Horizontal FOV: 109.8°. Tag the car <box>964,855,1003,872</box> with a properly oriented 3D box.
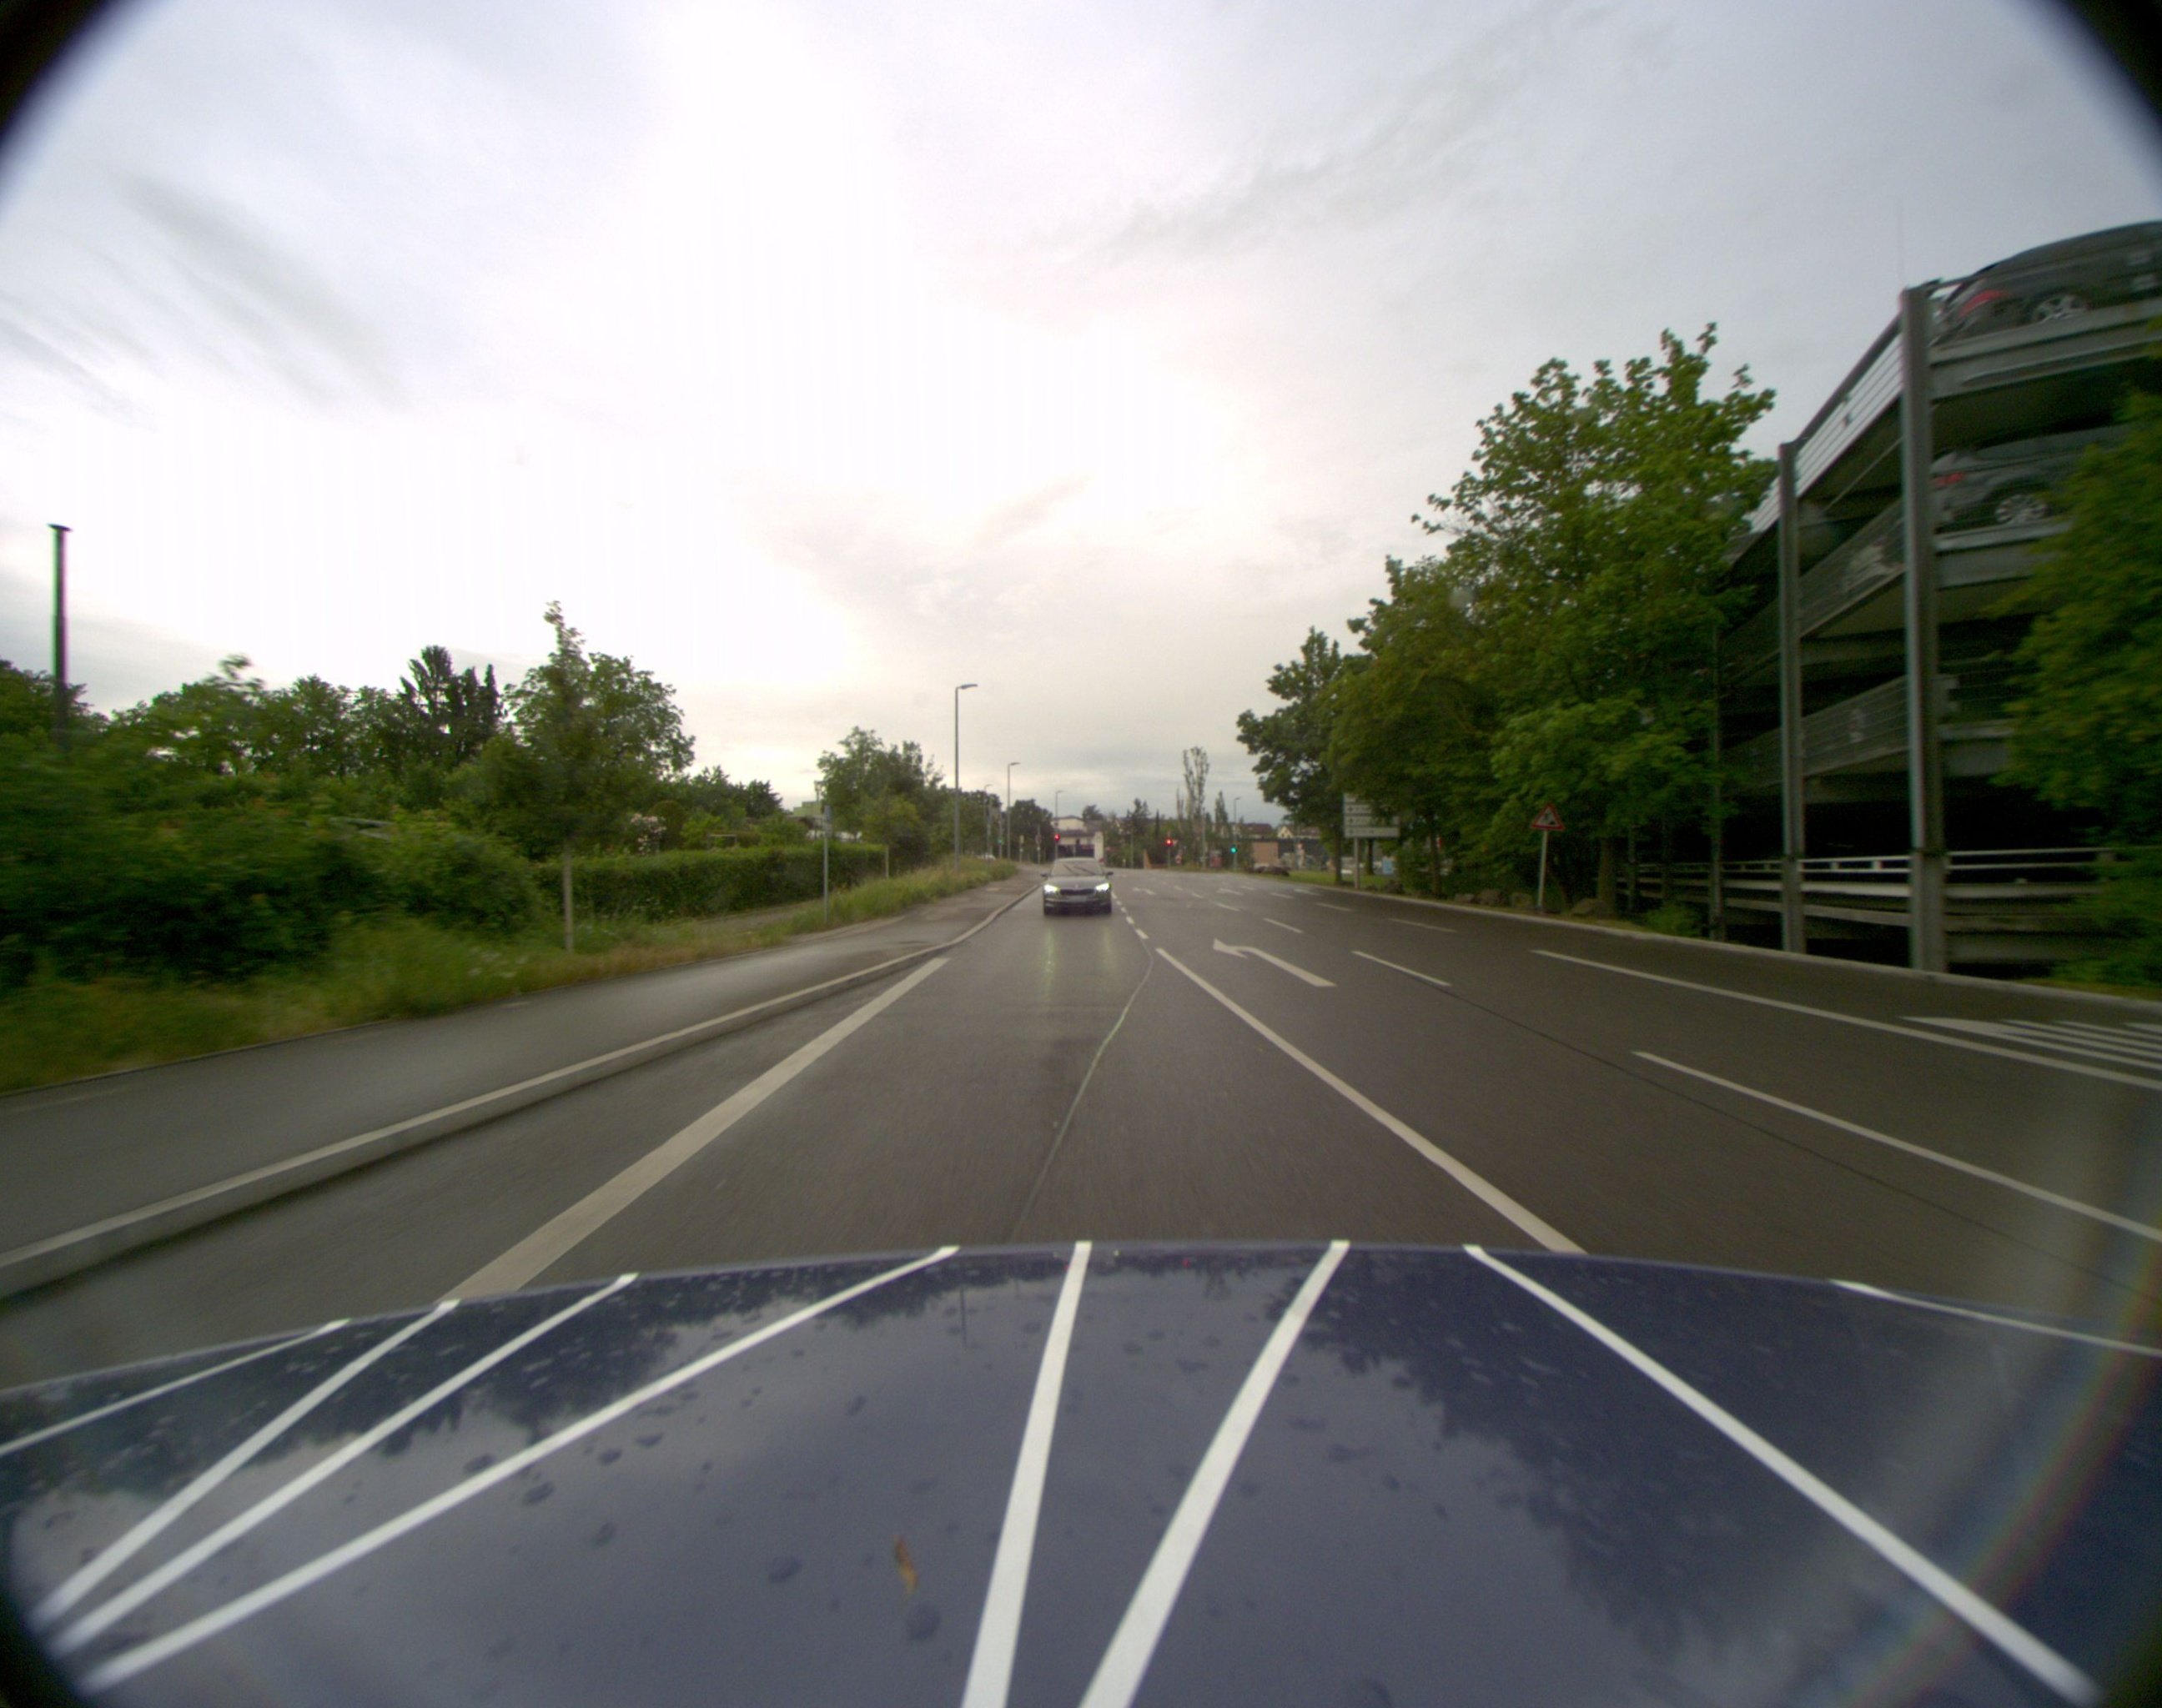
[{"bbox_3d":[-10.662,1.037,83.093,4.050,1.596,1.826,3,5,36],"label":"car"}]

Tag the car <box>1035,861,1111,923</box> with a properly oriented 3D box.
[{"bbox_3d":[-0.162,0.968,20.914,1.839,1.448,4.202,-3,-1,1],"label":"car"}]

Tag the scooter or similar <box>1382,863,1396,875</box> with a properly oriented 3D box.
[{"bbox_3d":[32.214,1.585,79.545,1.226,1.251,0.517,2,-1,-5],"label":"scooter or similar"}]

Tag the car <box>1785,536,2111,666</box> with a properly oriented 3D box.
[{"bbox_3d":[17.604,-5.092,15.770,3.989,1.510,2.004,1,1,29],"label":"car"}]

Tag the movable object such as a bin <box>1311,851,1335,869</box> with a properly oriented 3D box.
[{"bbox_3d":[37.962,0.925,119.277,2.997,2.611,1.929,2,-1,0],"label":"movable object such as a bin"}]

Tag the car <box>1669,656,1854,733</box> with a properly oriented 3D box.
[{"bbox_3d":[21.502,-5.001,24.254,3.990,1.510,2.004,-3,-1,29],"label":"car"}]

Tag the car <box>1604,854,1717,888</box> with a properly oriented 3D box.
[{"bbox_3d":[27.686,0.767,36.482,3.989,1.510,2.004,1,1,27],"label":"car"}]

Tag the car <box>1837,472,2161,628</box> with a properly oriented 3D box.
[{"bbox_3d":[16.353,-5.232,13.311,3.989,1.510,2.004,1,1,29],"label":"car"}]

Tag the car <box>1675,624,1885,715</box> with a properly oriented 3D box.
[{"bbox_3d":[19.624,-5.138,21.614,3.990,1.510,2.004,-3,-1,29],"label":"car"}]

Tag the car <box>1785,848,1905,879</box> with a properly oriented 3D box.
[{"bbox_3d":[40.445,0.492,40.361,3.990,1.510,2.003,1,1,22],"label":"car"}]

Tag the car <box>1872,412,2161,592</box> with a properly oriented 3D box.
[{"bbox_3d":[15.144,-5.335,11.479,3.989,1.510,2.004,1,1,29],"label":"car"}]

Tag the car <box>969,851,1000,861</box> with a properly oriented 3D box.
[{"bbox_3d":[-13.992,0.325,110.526,4.036,1.396,1.842,0,-1,8],"label":"car"}]

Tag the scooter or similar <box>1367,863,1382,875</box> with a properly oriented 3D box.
[{"bbox_3d":[30.749,1.550,79.643,1.357,1.251,0.549,2,-1,-5],"label":"scooter or similar"}]

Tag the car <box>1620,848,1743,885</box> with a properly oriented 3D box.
[{"bbox_3d":[26.557,0.506,33.786,3.989,1.510,2.004,1,1,29],"label":"car"}]

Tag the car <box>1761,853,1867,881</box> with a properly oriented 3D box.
[{"bbox_3d":[42.793,0.726,44.469,3.990,1.510,2.003,1,1,22],"label":"car"}]

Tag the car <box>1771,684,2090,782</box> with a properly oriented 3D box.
[{"bbox_3d":[17.416,-2.423,15.917,3.989,1.510,2.004,1,1,29],"label":"car"}]

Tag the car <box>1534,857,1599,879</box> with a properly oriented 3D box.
[{"bbox_3d":[36.647,1.022,57.470,3.989,1.510,2.004,1,1,28],"label":"car"}]

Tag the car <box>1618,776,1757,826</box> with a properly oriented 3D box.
[{"bbox_3d":[23.924,-2.045,30.179,3.990,1.510,2.004,-3,-1,29],"label":"car"}]
